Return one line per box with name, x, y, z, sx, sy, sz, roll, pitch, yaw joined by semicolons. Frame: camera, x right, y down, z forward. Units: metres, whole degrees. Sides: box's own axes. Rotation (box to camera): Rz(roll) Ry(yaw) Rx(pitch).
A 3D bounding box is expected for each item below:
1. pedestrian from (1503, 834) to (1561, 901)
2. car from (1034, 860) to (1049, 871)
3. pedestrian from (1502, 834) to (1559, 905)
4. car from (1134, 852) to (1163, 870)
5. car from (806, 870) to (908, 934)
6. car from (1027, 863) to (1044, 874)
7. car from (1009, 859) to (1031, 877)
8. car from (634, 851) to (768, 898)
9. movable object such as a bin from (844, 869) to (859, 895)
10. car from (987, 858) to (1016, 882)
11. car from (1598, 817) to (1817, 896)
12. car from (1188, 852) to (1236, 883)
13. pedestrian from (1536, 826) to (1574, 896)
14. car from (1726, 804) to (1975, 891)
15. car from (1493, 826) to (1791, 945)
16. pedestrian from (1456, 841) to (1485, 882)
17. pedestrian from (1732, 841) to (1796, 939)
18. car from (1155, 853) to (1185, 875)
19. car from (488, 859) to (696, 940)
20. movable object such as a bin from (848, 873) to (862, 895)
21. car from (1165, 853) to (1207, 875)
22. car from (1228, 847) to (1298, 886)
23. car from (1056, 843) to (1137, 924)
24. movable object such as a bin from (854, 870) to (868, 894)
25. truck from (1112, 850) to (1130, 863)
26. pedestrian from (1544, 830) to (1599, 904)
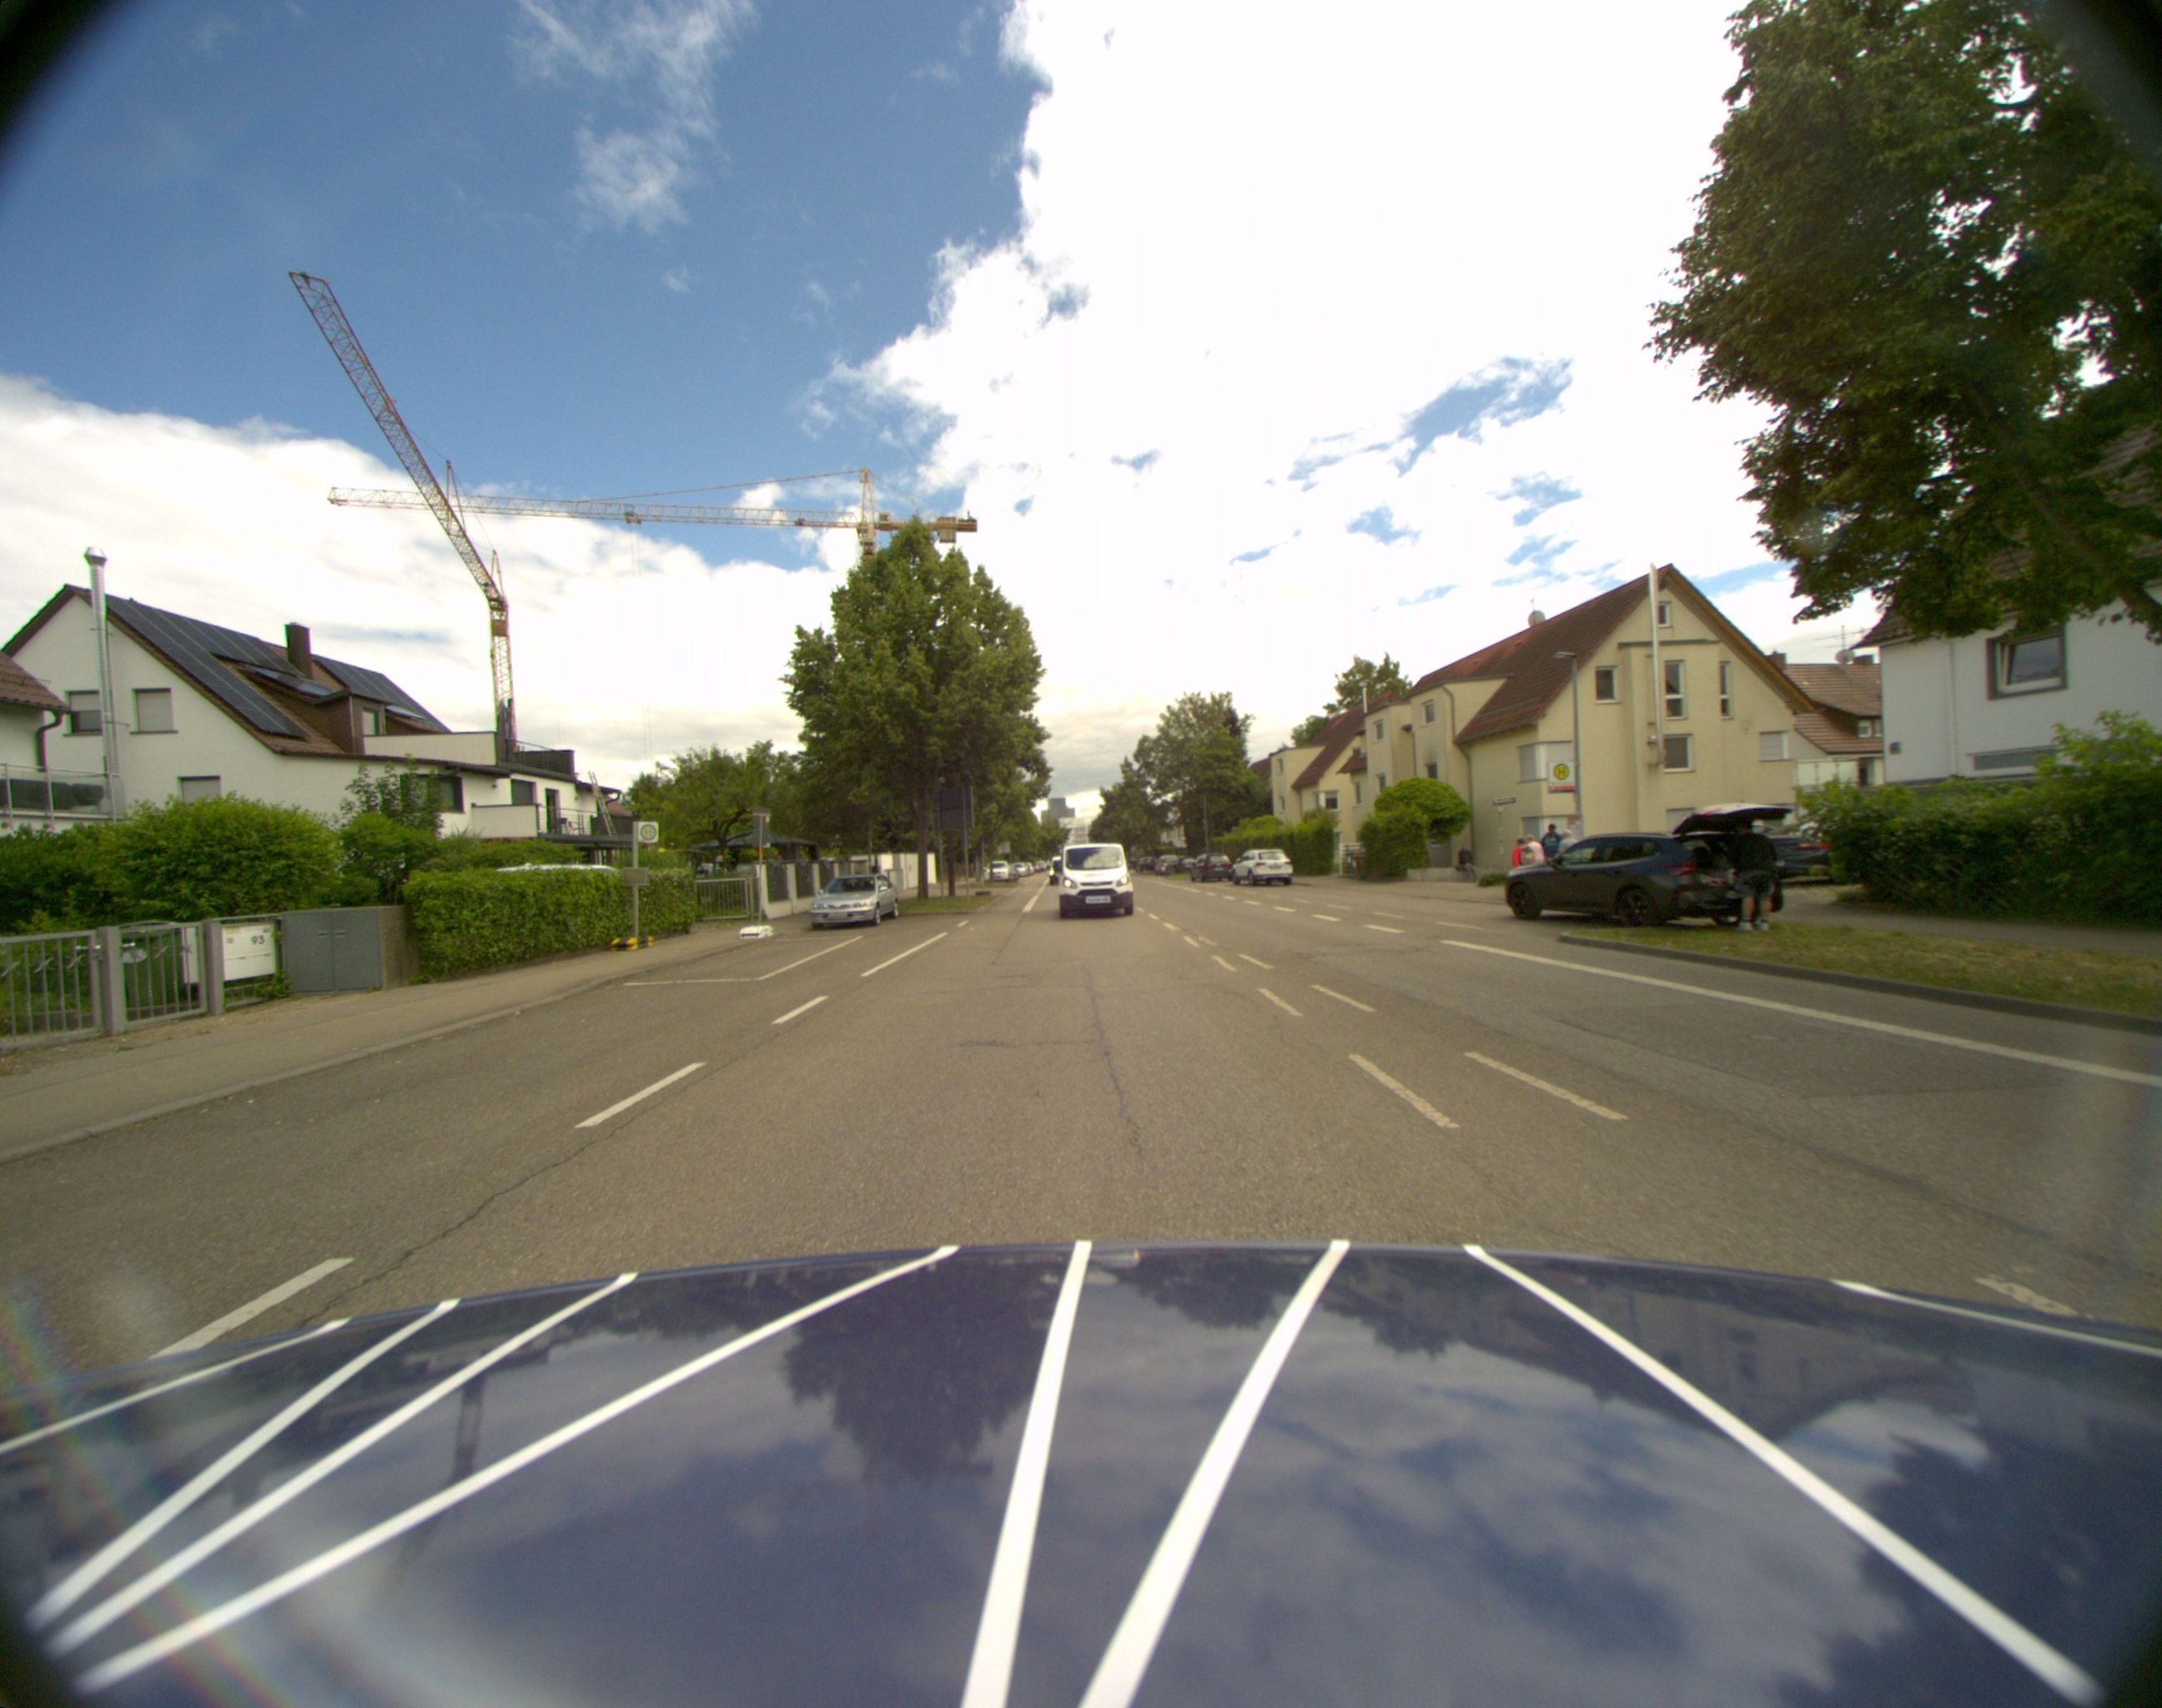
pedestrian;11.819;0.354;19.932;0.789;1.654;0.881;-6;1;-9
car;-5.912;1.696;113.760;1.820;1.506;4.679;-4;0;0
pedestrian;11.210;0.387;18.968;0.789;1.654;0.754;-7;1;-9
car;6.587;0.718;74.722;2.101;1.637;5.037;-2;0;-3
car;-6.152;1.263;21.371;1.616;1.369;4.385;-3;1;-1
car;-6.272;1.967;104.229;1.864;1.405;4.444;-5;-1;1
car;-6.231;1.381;77.835;1.866;1.601;4.686;-4;0;-1
car;-17.829;0.915;35.928;5.200;1.892;2.047;-3;1;-9
movable object such as a bin;-9.994;1.232;33.098;0.437;1.103;0.454;-2;0;-1
car;-6.068;1.200;58.434;1.905;1.633;4.115;-3;0;-2
car;15.448;0.029;18.768;4.530;1.545;2.033;-4;1;-19
car;7.264;0.723;42.546;1.682;1.543;4.271;-3;0;-3
pedestrian;12.573;0.189;20.174;0.505;1.795;0.671;-3;1;-2
car;16.942;-0.145;16.829;3.999;1.474;1.790;-5;0;-8
car;9.736;0.480;13.775;1.729;1.714;4.563;-3;0;-5
pedestrian;14.928;0.283;29.146;0.672;1.551;0.836;-2;0;4
pedestrian;10.215;0.542;11.386;0.553;1.427;0.497;-3;-2;29
car;7.085;0.770;60.804;1.723;1.603;3.909;-2;0;-2
car;-12.563;1.120;19.779;3.998;1.812;1.999;-3;0;-4
movable object such as a bin;-10.008;1.323;33.631;0.437;0.915;0.395;-2;0;-1
car;7.532;0.713;55.143;1.999;1.476;4.888;-2;0;-4
car;8.397;0.541;35.511;1.826;1.624;4.584;-2;0;-5
car;0.428;0.728;22.026;1.998;2.002;5.188;-2;1;1
movable object such as a bin;-9.909;1.259;34.205;0.437;1.016;0.454;-2;0;-1
truck;6.549;0.431;124.486;2.429;2.031;5.995;-3;0;0
pedestrian;11.687;0.302;18.104;0.789;1.654;0.591;-6;1;-3
